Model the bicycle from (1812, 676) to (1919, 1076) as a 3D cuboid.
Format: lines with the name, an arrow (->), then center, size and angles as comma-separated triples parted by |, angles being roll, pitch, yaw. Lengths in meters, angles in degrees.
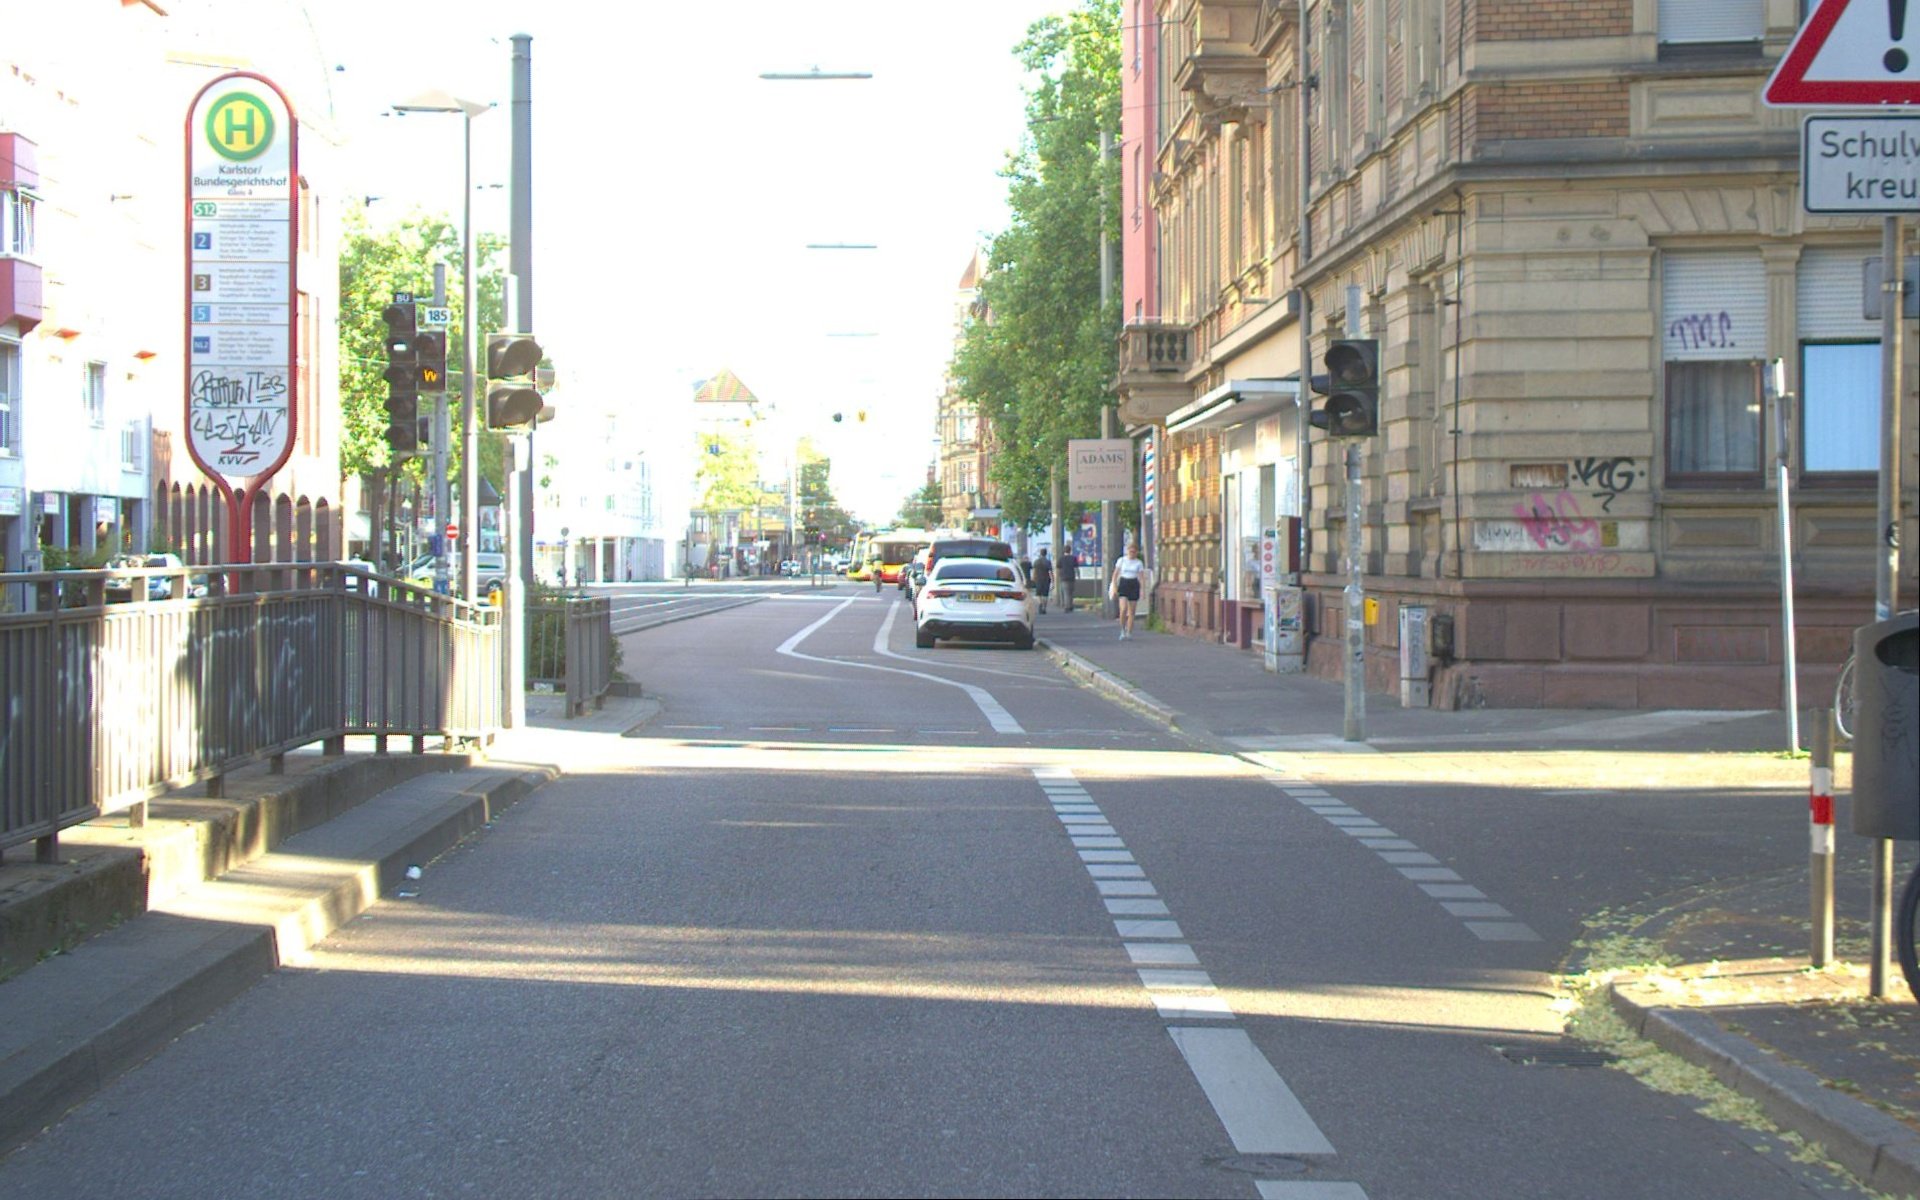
bicycle -> 3.412, 0.757, 9.671 | 1.833, 1.050, 0.710 | 0, 1, -4

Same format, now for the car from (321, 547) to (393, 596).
car -> -20.069, -0.956, 114.525 | 1.869, 1.594, 4.255 | 1, 1, -4

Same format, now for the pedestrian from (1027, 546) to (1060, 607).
pedestrian -> 2.219, -0.634, 91.096 | 0.776, 1.561, 0.914 | -3, 1, 0

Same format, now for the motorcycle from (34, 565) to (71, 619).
motorcycle -> -20.797, -0.193, 78.756 | 0.669, 1.201, 2.141 | 2, 0, -18

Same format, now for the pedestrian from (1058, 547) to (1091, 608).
pedestrian -> 3.024, -0.596, 91.025 | 0.776, 1.561, 0.914 | -3, 1, 0

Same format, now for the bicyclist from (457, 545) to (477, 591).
bicyclist -> -18.258, -1.181, 127.316 | 0.571, 1.706, 0.746 | -2, 0, -17

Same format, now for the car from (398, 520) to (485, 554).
car -> -26.023, -3.157, 172.494 | 3.870, 1.622, 1.875 | 0, 3, -37

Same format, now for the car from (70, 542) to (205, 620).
car -> -19.246, -0.424, 80.640 | 2.090, 1.707, 4.819 | 2, 0, -2

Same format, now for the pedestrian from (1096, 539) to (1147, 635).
pedestrian -> 2.720, -0.224, 58.028 | 0.776, 1.561, 0.913 | -3, 1, 2

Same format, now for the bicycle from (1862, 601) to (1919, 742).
bicycle -> 7.296, 0.535, 25.004 | 0.417, 1.021, 1.908 | 0, 1, -20

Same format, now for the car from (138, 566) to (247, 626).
car -> -19.652, -0.110, 88.133 | 1.869, 1.445, 3.583 | 1, 0, 2

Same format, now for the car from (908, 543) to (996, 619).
car -> -0.222, -0.480, 85.166 | 1.949, 1.782, 5.182 | 2, 0, -2

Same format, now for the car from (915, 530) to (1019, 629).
car -> 0.151, -0.419, 69.060 | 1.955, 1.862, 4.989 | 2, 1, 0

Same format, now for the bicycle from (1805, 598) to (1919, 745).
bicycle -> 6.886, 0.515, 25.001 | 0.451, 1.021, 1.908 | 0, 1, -20

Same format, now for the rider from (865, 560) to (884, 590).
rider -> -4.282, -1.255, 171.984 | 0.883, 1.476, 0.713 | 2, 0, 0

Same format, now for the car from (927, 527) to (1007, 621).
car -> 0.192, -0.588, 79.667 | 1.705, 2.112, 3.706 | 1, 0, 2

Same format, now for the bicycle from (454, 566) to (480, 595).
bicycle -> -18.262, -0.720, 127.438 | 0.582, 1.074, 2.186 | -2, 0, -17

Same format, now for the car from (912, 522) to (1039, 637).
car -> 0.242, -0.344, 57.095 | 1.966, 1.765, 4.875 | 1, 0, 0

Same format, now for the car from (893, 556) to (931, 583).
car -> -2.724, -1.706, 193.141 | 2.065, 1.384, 4.225 | 3, 0, -1

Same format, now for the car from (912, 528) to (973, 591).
car -> -0.567, -1.345, 114.812 | 1.971, 2.007, 4.558 | -1, 1, 0

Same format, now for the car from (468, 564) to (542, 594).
car -> -24.096, -1.121, 181.999 | 3.519, 1.476, 1.582 | 2, 1, -33

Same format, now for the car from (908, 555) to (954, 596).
car -> -1.145, -0.948, 133.578 | 1.723, 1.562, 4.083 | -1, 1, -1

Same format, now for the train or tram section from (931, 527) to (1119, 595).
train or tram section -> 4.324, -2.596, 228.313 | 12.047, 3.946, 2.701 | 3, 0, -10
